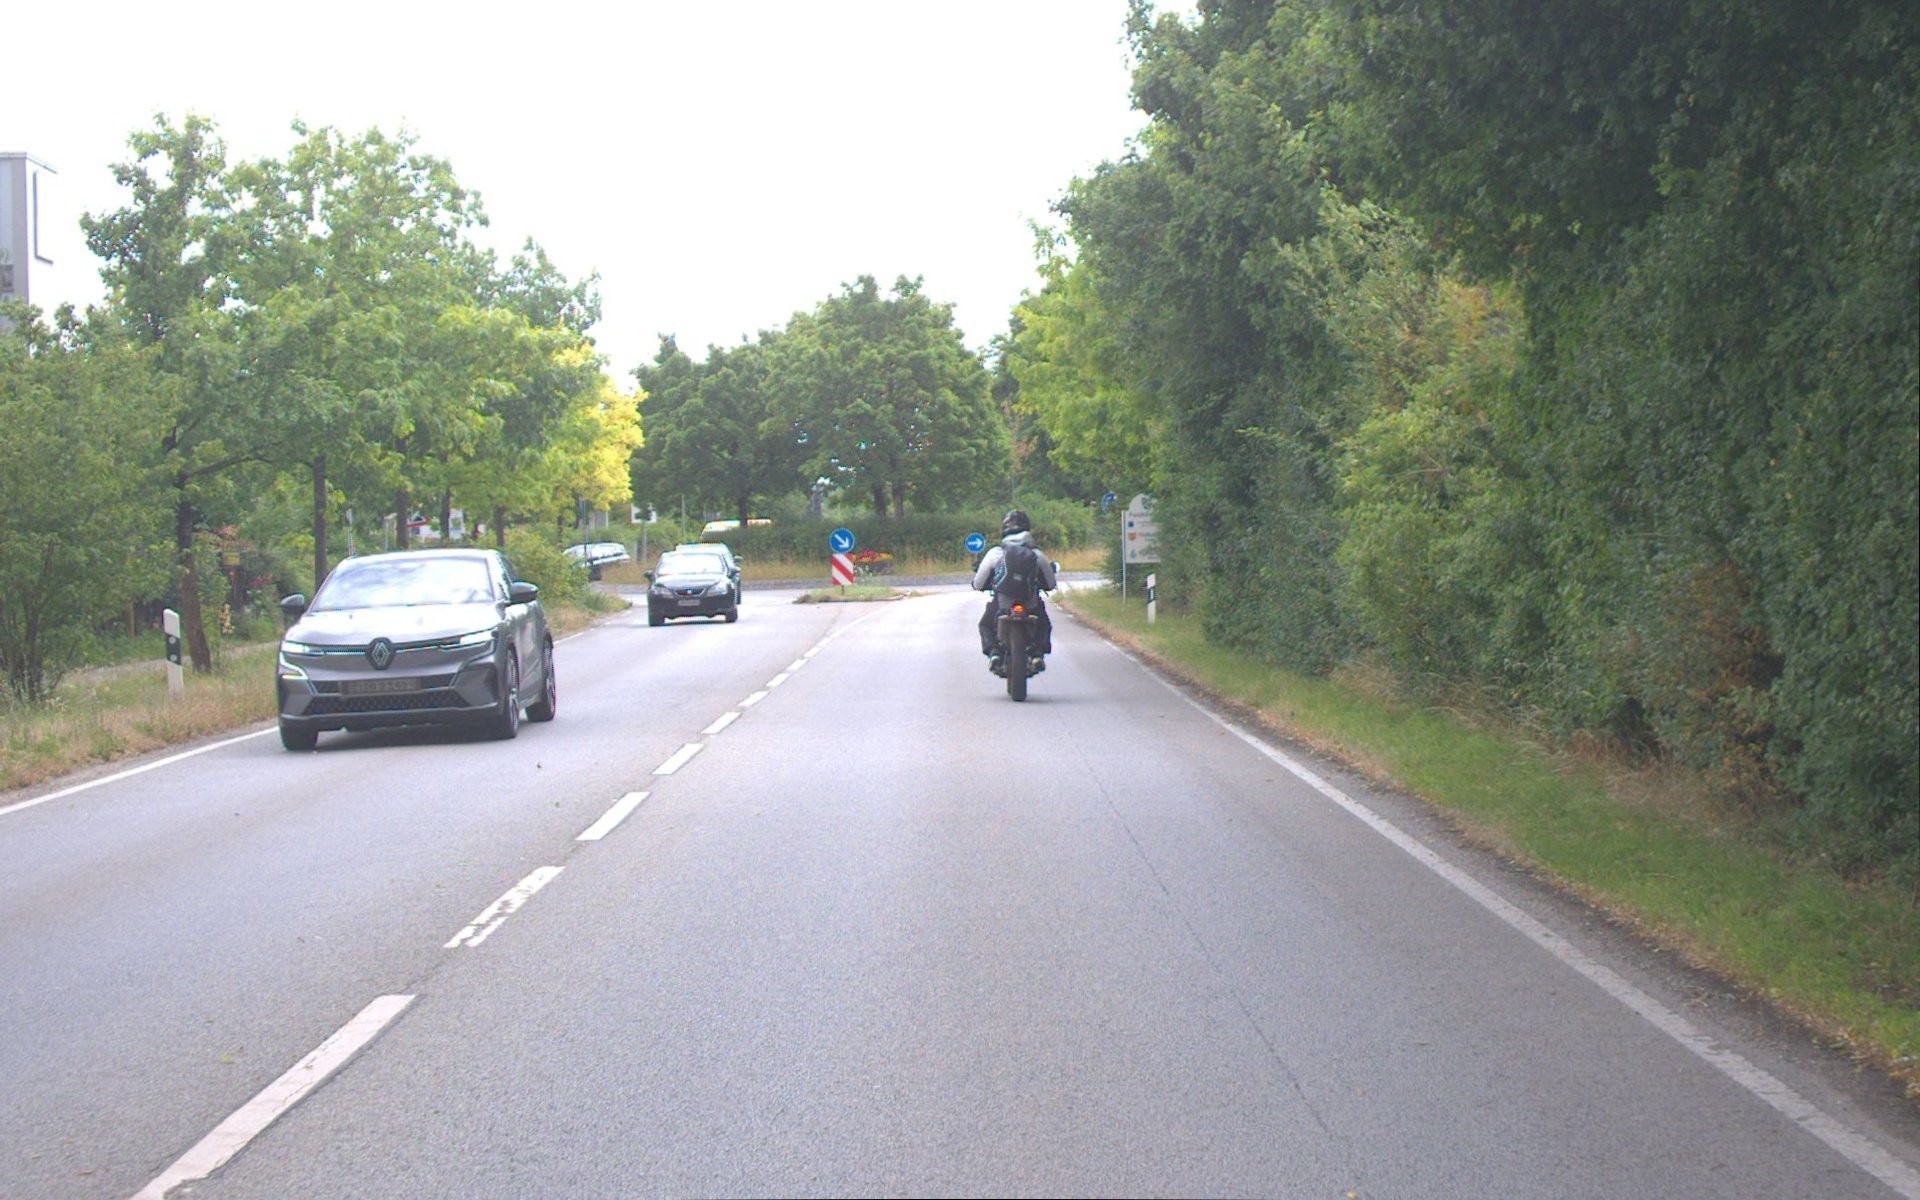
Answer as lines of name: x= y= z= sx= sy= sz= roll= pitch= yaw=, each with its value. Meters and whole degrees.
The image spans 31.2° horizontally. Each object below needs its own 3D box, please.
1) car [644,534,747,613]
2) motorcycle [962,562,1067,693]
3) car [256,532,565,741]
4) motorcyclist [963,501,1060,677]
car: x=-5.116 y=-0.541 z=66.914 sx=1.676 sy=1.406 sz=4.013 roll=-3 pitch=1 yaw=0
motorcycle: x=0.494 y=0.233 z=32.391 sx=0.896 sy=1.154 sz=2.620 roll=-1 pitch=1 yaw=-1
car: x=-4.350 y=0.230 z=27.804 sx=1.815 sy=1.489 sz=4.204 roll=-2 pitch=1 yaw=-1
motorcyclist: x=0.474 y=-0.114 z=32.446 sx=0.861 sy=1.618 sz=1.191 roll=-1 pitch=1 yaw=-1
